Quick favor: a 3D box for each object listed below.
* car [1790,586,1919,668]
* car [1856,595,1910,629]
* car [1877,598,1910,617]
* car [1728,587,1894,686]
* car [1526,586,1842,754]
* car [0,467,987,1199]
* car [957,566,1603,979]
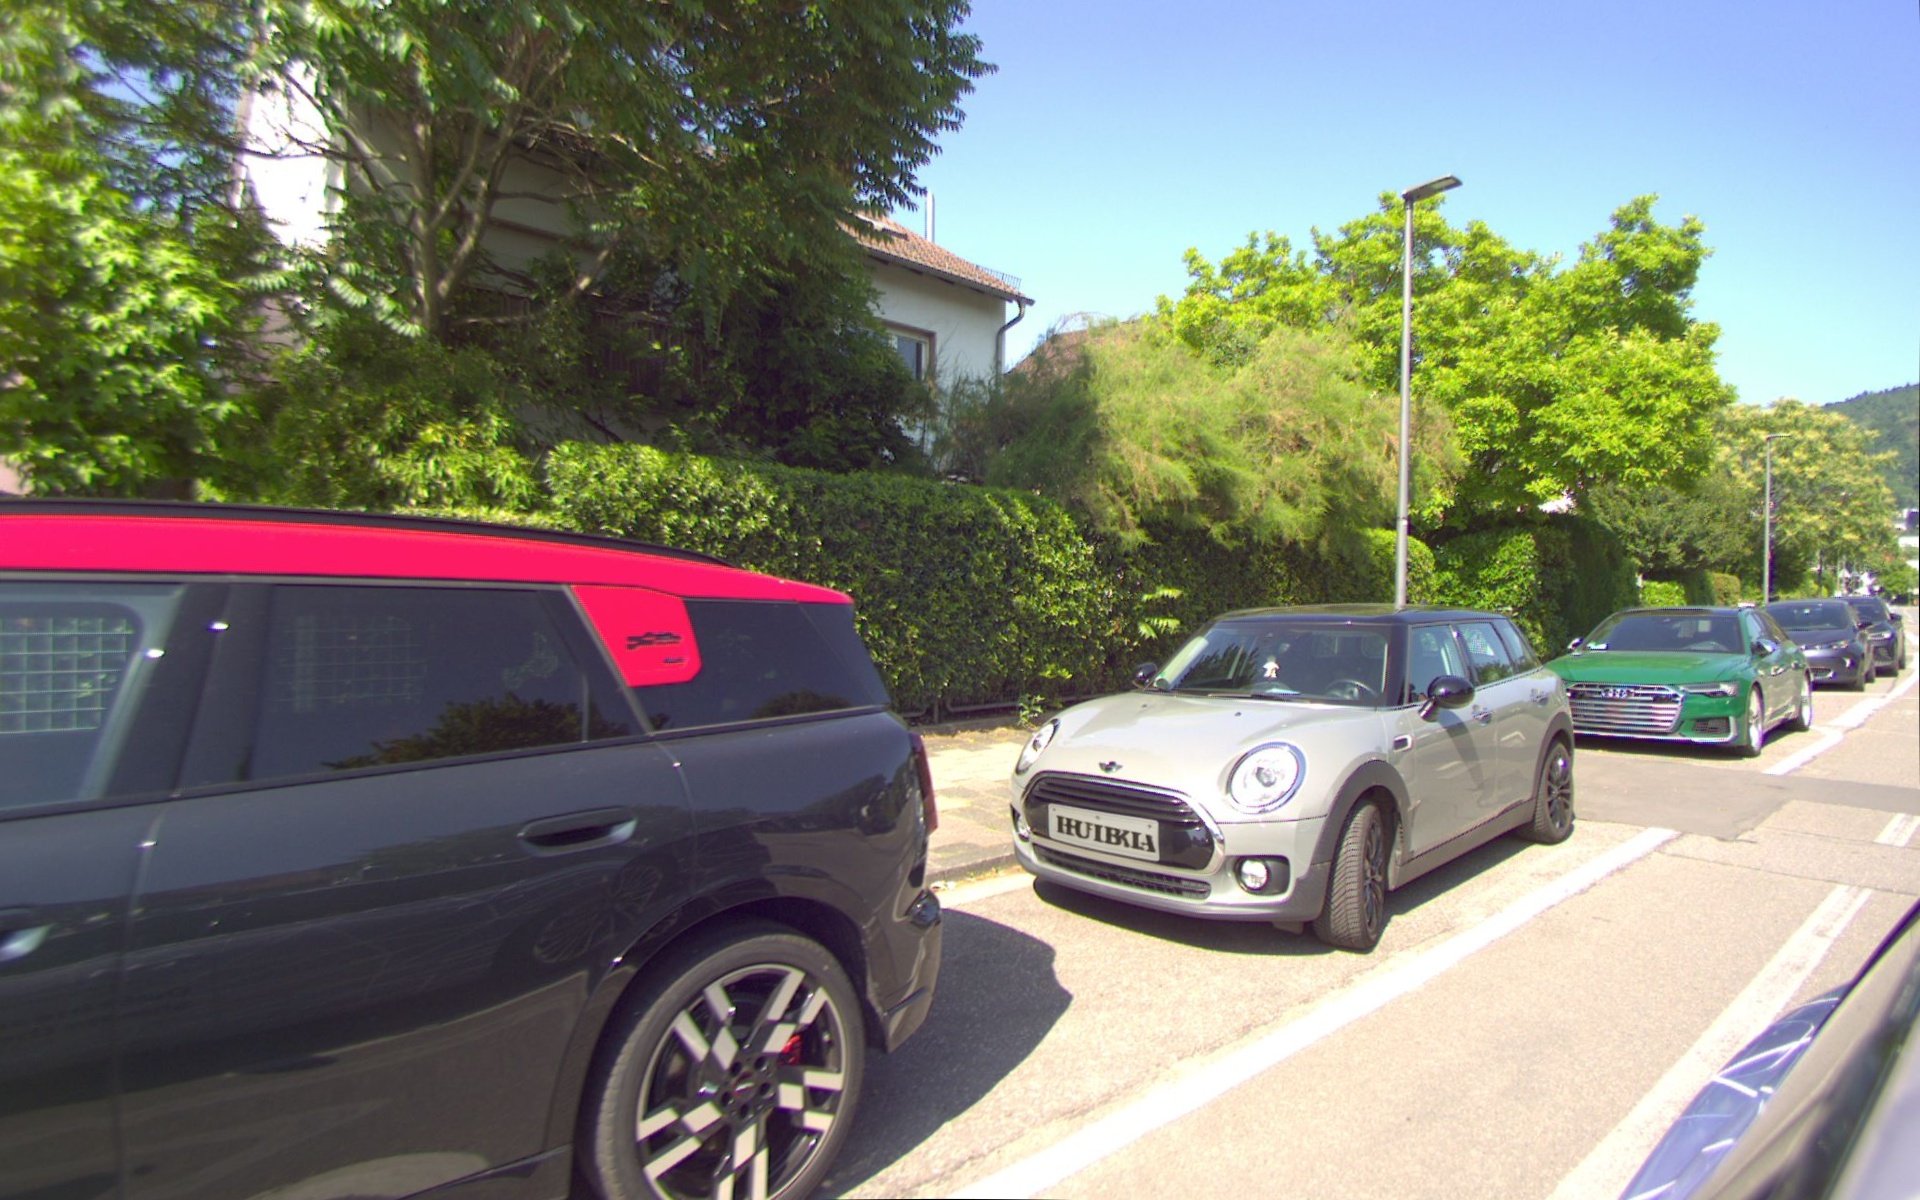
[{"bbox_3d":[19.312,0.559,21.649,4.522,1.579,1.813,1,-2,-43],"label":"car"},{"bbox_3d":[51.094,0.635,56.068,1.991,1.727,3.943,1,1,39],"label":"car"},{"bbox_3d":[88.497,0.704,95.985,1.991,1.727,3.943,1,1,39],"label":"car"},{"bbox_3d":[15.303,0.648,18.137,3.851,1.579,1.812,1,-4,-44],"label":"car"},{"bbox_3d":[8.143,0.664,11.194,4.704,1.482,1.814,1,-2,-41],"label":"car"},{"bbox_3d":[-2.117,0.594,1.991,4.237,1.613,1.766,1,0,-40],"label":"car"},{"bbox_3d":[2.040,0.615,5.680,4.001,1.461,1.764,1,2,-44],"label":"car"}]
